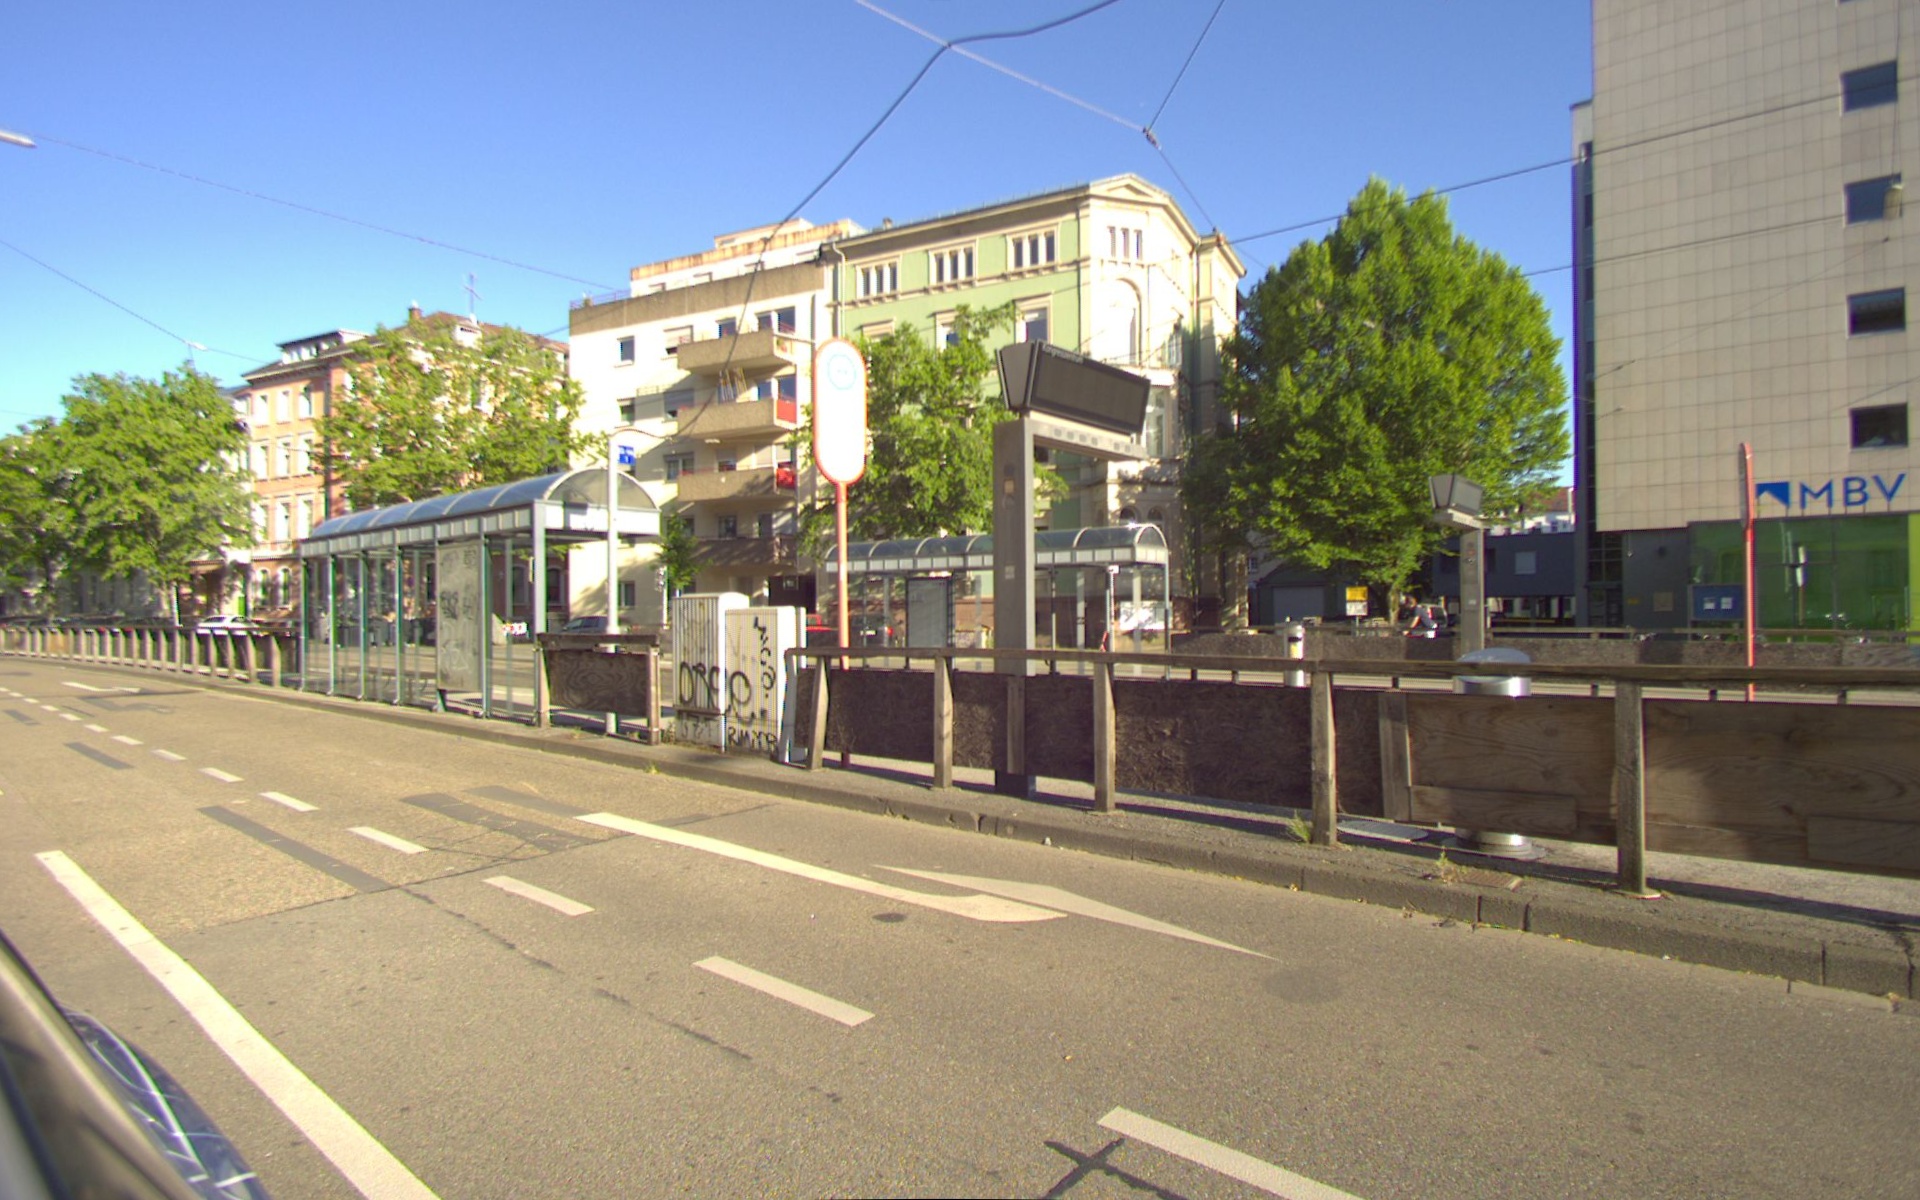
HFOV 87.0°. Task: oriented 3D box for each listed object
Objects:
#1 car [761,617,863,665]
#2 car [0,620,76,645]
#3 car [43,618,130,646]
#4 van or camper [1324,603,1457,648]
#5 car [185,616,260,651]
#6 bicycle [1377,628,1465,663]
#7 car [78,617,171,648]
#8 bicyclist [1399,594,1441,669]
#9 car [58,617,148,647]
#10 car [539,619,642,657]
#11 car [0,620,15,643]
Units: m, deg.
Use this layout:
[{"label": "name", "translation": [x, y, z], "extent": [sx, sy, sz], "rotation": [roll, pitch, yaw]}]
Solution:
[{"label": "car", "translation": [-5.004, 1.373, 34.690], "extent": [1.763, 1.547, 3.763], "rotation": [-1, -2, 23]}, {"label": "car", "translation": [-59.615, 2.071, 65.265], "extent": [3.811, 1.604, 2.001], "rotation": [1, -2, -45]}, {"label": "car", "translation": [-54.306, 1.945, 62.955], "extent": [2.001, 1.697, 3.942], "rotation": [-2, -2, 44]}, {"label": "van or camper", "translation": [15.503, 0.893, 36.549], "extent": [3.998, 1.417, 1.943], "rotation": [2, 0, 41]}, {"label": "car", "translation": [-39.525, 1.762, 54.372], "extent": [1.966, 1.736, 4.012], "rotation": [0, 1, -15]}, {"label": "bicycle", "translation": [11.108, 1.084, 24.401], "extent": [1.852, 0.793, 0.529], "rotation": [-1, -2, 41]}, {"label": "car", "translation": [-47.981, 1.835, 58.154], "extent": [2.001, 1.697, 3.942], "rotation": [-2, -2, 44]}, {"label": "bicyclist", "translation": [11.048, 0.755, 24.314], "extent": [0.770, 1.774, 0.529], "rotation": [-1, -2, 41]}, {"label": "car", "translation": [-51.298, 1.899, 60.626], "extent": [2.001, 1.697, 3.942], "rotation": [-2, -2, 44]}, {"label": "car", "translation": [-14.005, 1.422, 38.394], "extent": [3.498, 1.406, 1.602], "rotation": [-1, -2, 22]}, {"label": "car", "translation": [-68.105, 2.204, 70.110], "extent": [2.001, 1.604, 3.812], "rotation": [-2, -2, 44]}]
